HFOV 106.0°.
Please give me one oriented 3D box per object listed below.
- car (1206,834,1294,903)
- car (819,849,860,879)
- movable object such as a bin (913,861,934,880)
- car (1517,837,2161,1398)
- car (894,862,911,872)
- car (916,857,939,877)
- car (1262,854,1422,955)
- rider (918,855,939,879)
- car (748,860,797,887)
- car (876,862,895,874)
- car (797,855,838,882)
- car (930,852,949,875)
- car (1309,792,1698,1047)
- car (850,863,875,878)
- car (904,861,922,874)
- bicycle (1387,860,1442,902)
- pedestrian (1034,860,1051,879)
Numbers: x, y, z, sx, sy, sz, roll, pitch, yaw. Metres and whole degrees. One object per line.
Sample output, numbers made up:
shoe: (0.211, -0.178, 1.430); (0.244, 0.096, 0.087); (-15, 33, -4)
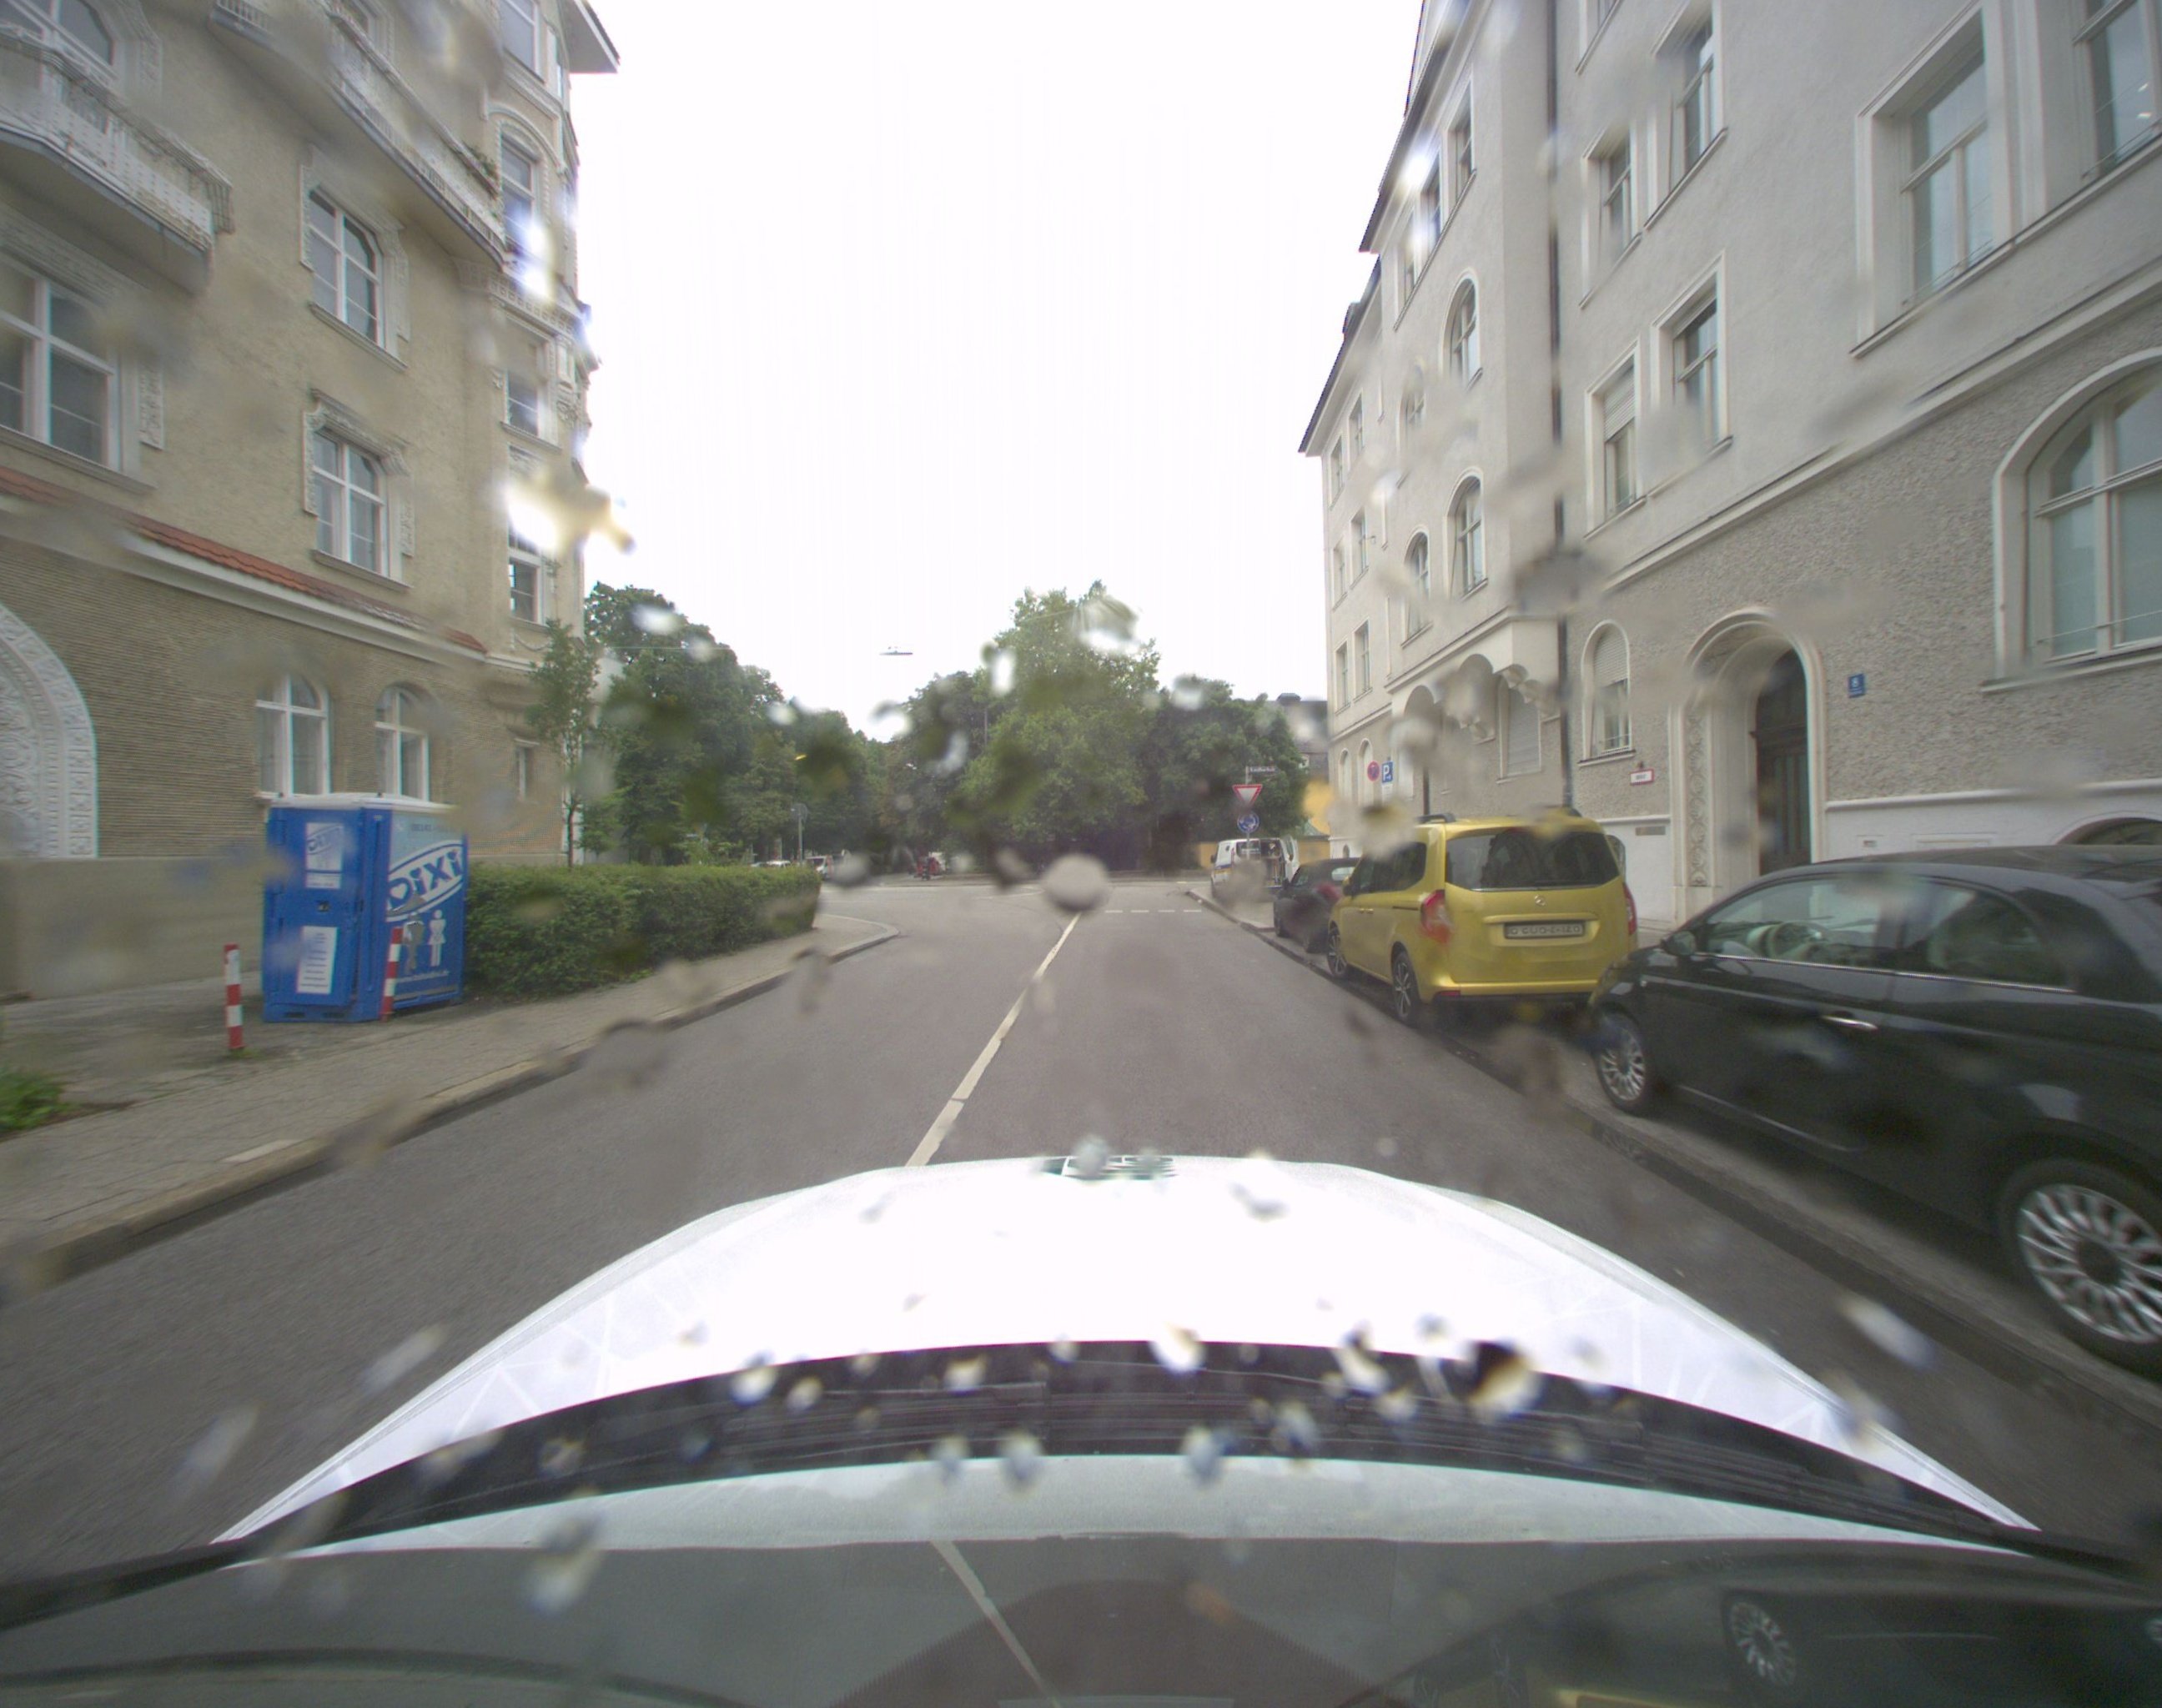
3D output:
car: (5.424, 0.429, 26.754); (1.909, 1.962, 4.928); (-2, 0, 1)
car: (-24.239, 1.001, 82.024); (2.329, 2.922, 6.572); (-1, 0, -3)
movable object such as a bin: (-11.312, 1.157, 58.613); (1.071, 1.267, 1.090); (-4, -1, 10)
car: (3.771, 0.692, 3.768); (1.625, 1.484, 3.786); (-2, 0, 3)
car: (-28.130, 2.080, 128.457); (1.892, 1.571, 4.068); (-1, 0, -4)
car: (-15.051, 1.246, 79.905); (2.040, 1.922, 4.433); (-1, 0, -9)
car: (4.299, 0.751, 14.024); (1.657, 1.457, 3.899); (-1, 0, 3)
rider: (-11.162, 0.956, 59.522); (1.075, 1.667, 1.142); (-4, -1, 10)
car: (-22.244, 1.371, 58.896); (1.922, 1.895, 4.860); (-1, 0, -4)
car: (-27.025, 1.920, 112.674); (1.892, 1.571, 4.068); (-1, 0, -4)
car: (-23.455, 1.294, 72.680); (2.106, 2.251, 5.189); (-1, 0, -3)
car: (-16.577, 1.125, 95.578); (2.040, 2.558, 5.234); (-1, 0, -8)
car: (3.782, 0.490, 8.425); (1.841, 1.853, 4.827); (-1, 0, 5)
car: (-24.864, 1.852, 92.883); (1.892, 1.538, 4.068); (-1, 0, -4)
car: (-19.901, 1.581, 96.741); (1.787, 1.492, 3.989); (-1, 0, -8)
bicycle: (9.395, 0.736, 23.035); (0.691, 1.094, 2.284); (-3, 0, 3)
pedestrian: (-2.355, 0.950, 50.036); (0.807, 1.189, 0.921); (-1, 0, 8)
